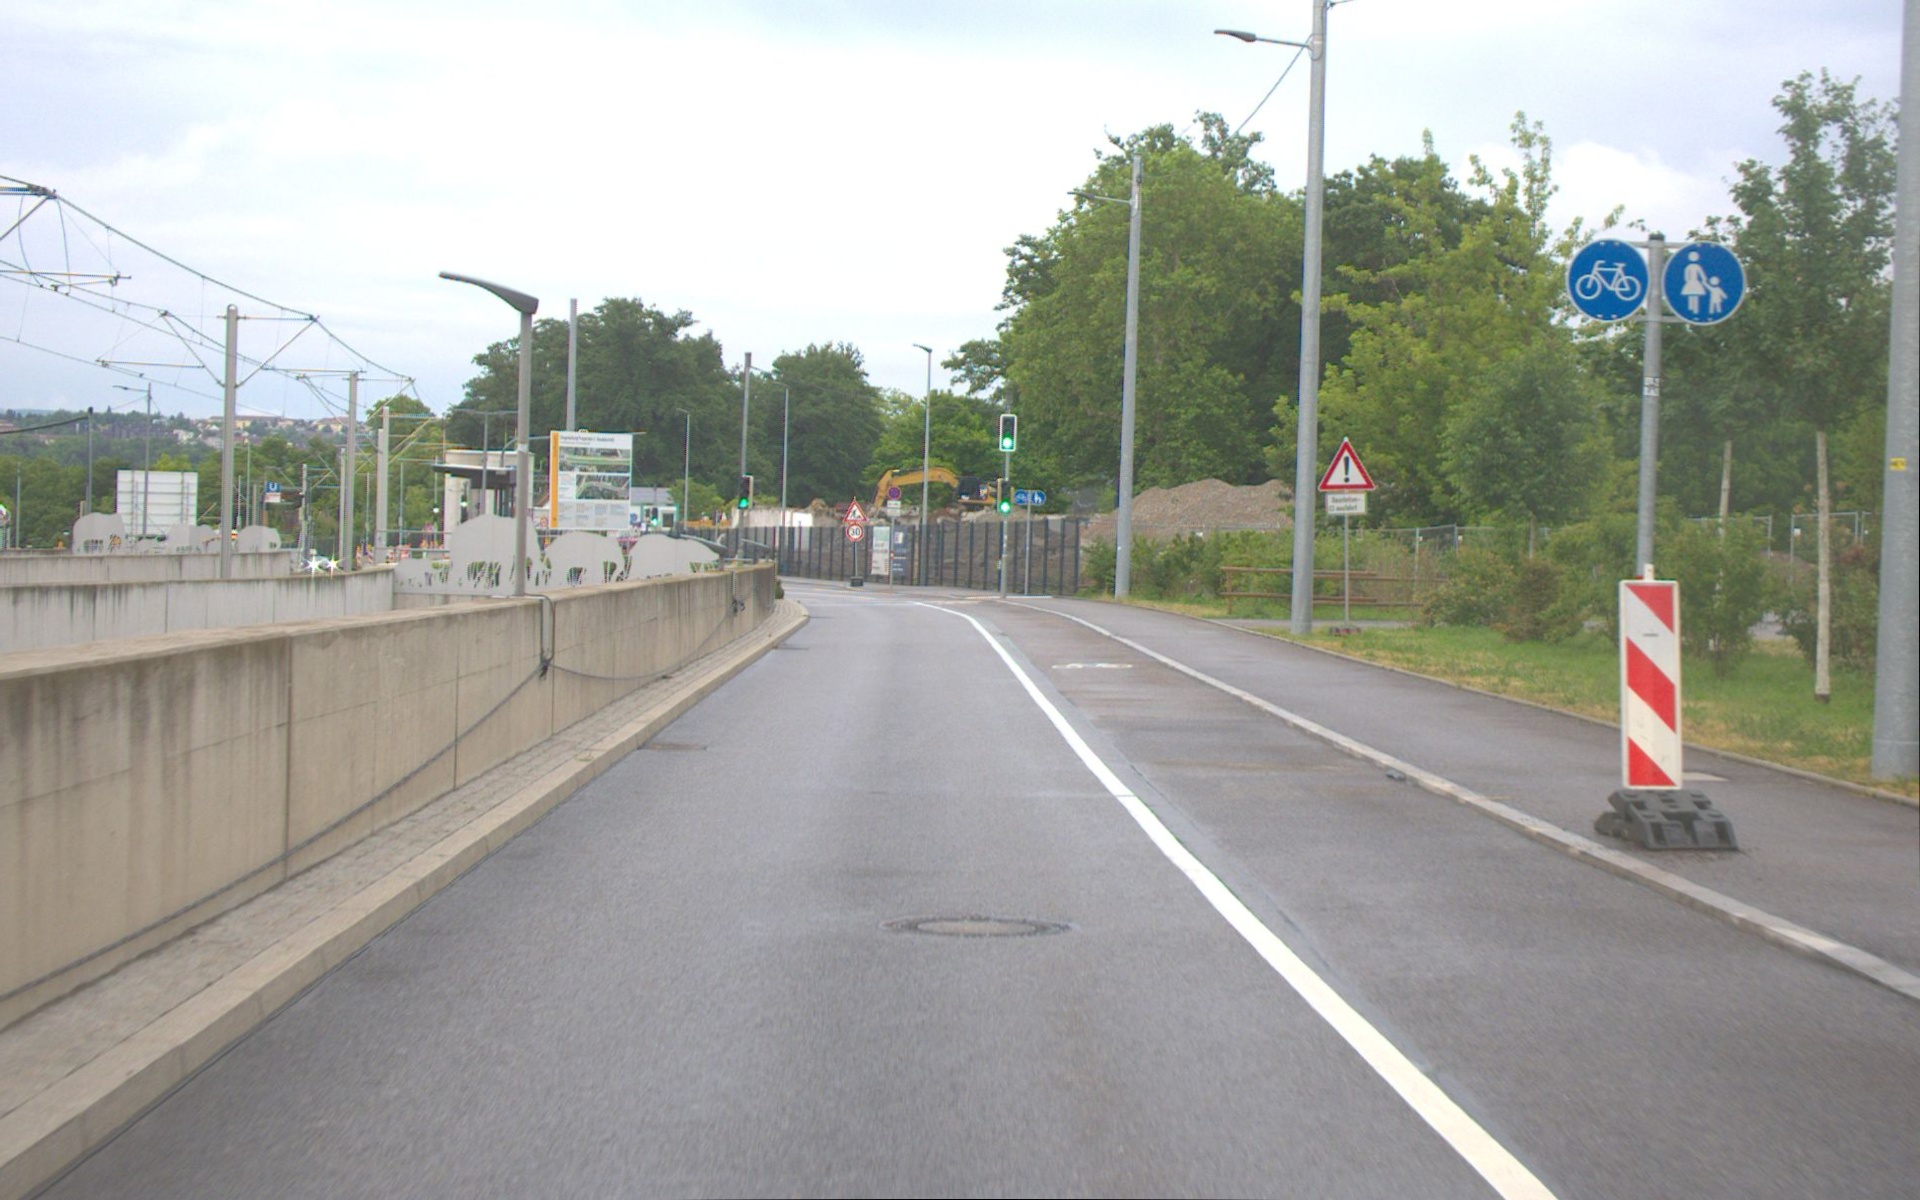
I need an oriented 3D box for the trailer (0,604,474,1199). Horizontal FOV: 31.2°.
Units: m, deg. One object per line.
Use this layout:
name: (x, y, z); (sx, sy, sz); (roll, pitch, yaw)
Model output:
trailer: (-6.228, 2.313, 27.846); (2.762, 4.238, 13.184); (0, 1, 0)
